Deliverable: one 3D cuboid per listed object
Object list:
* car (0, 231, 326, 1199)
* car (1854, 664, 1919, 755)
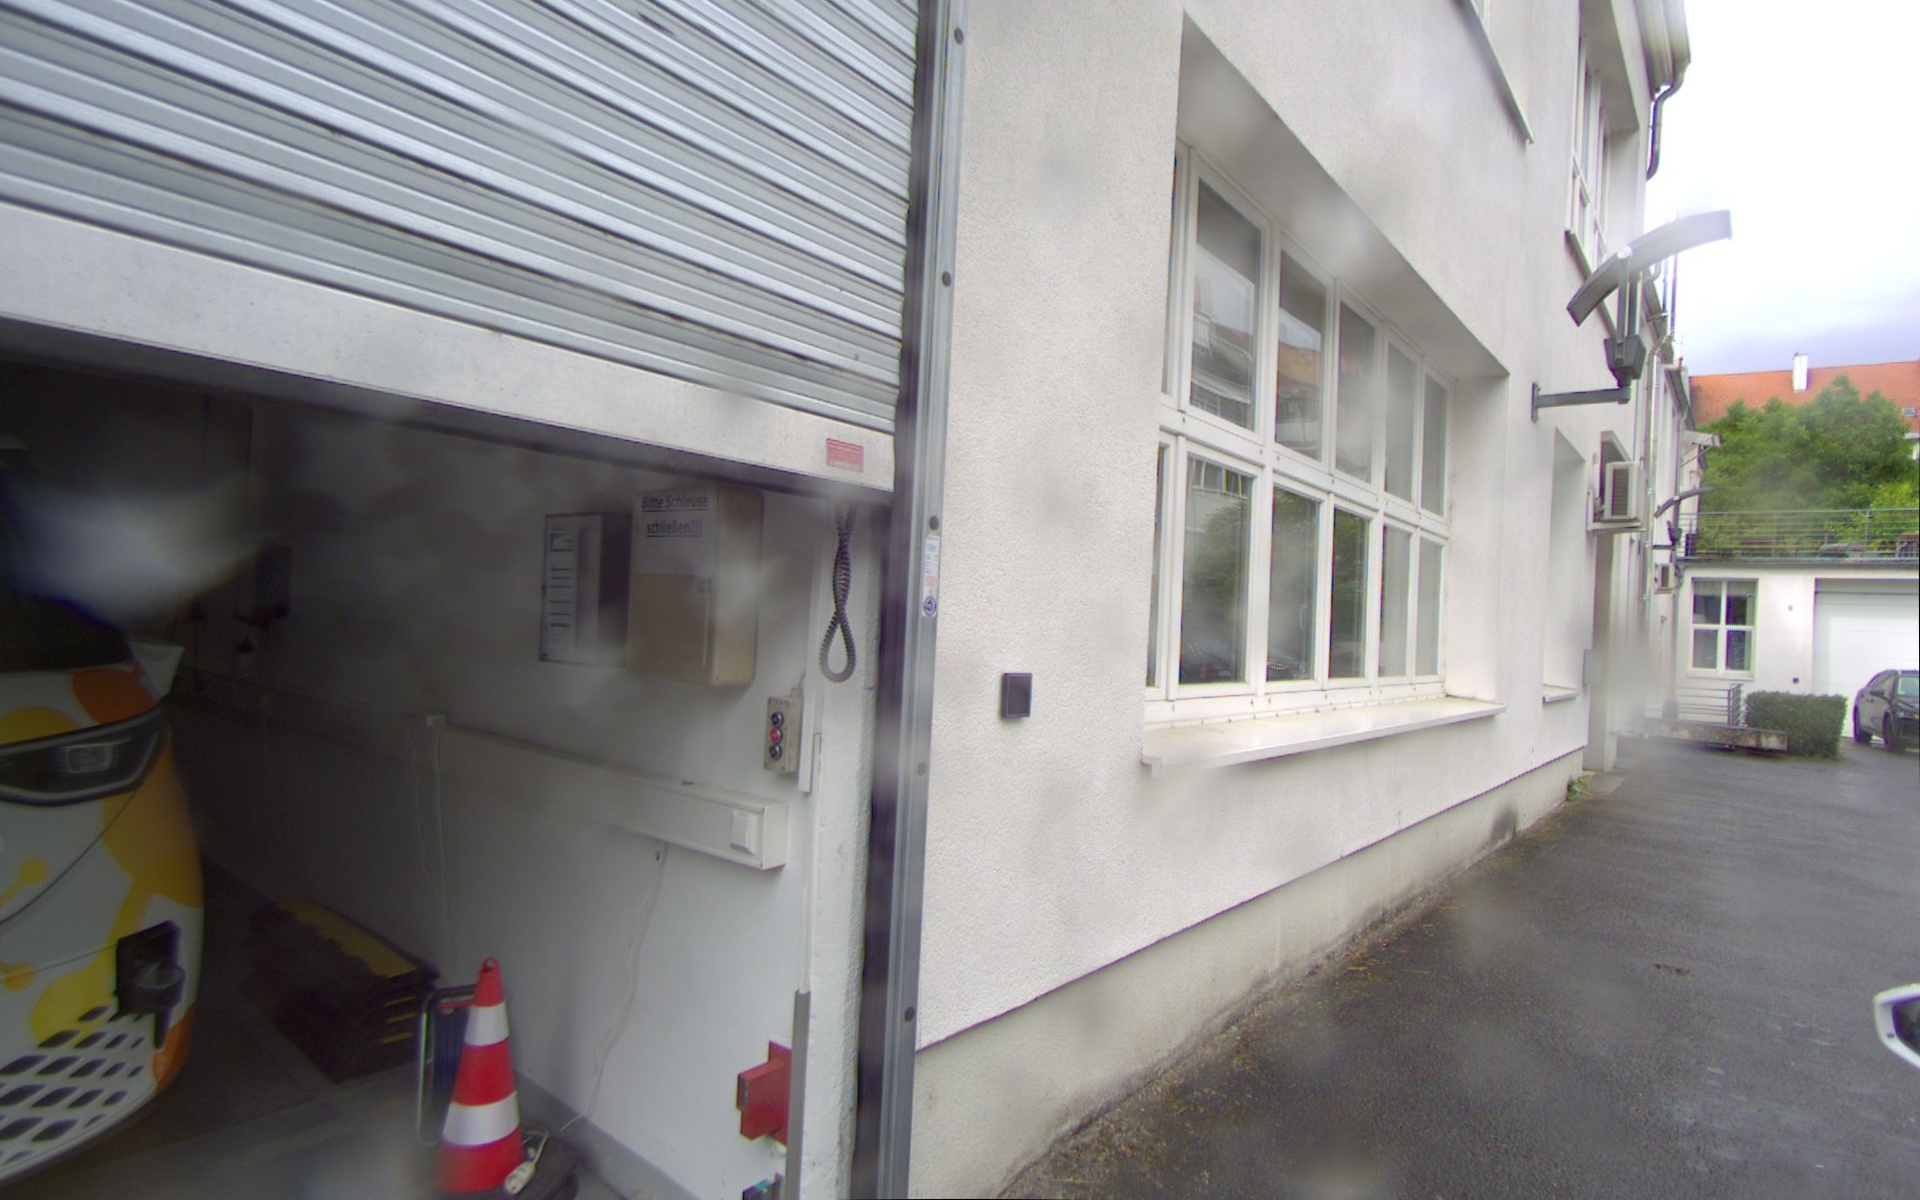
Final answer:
[{"bbox_3d":[-3.916,0.211,2.892,4.632,2.040,2.076,4,0,39],"label":"car"},{"bbox_3d":[17.780,1.979,18.188,1.953,1.463,3.986,2,-1,36],"label":"car"}]
